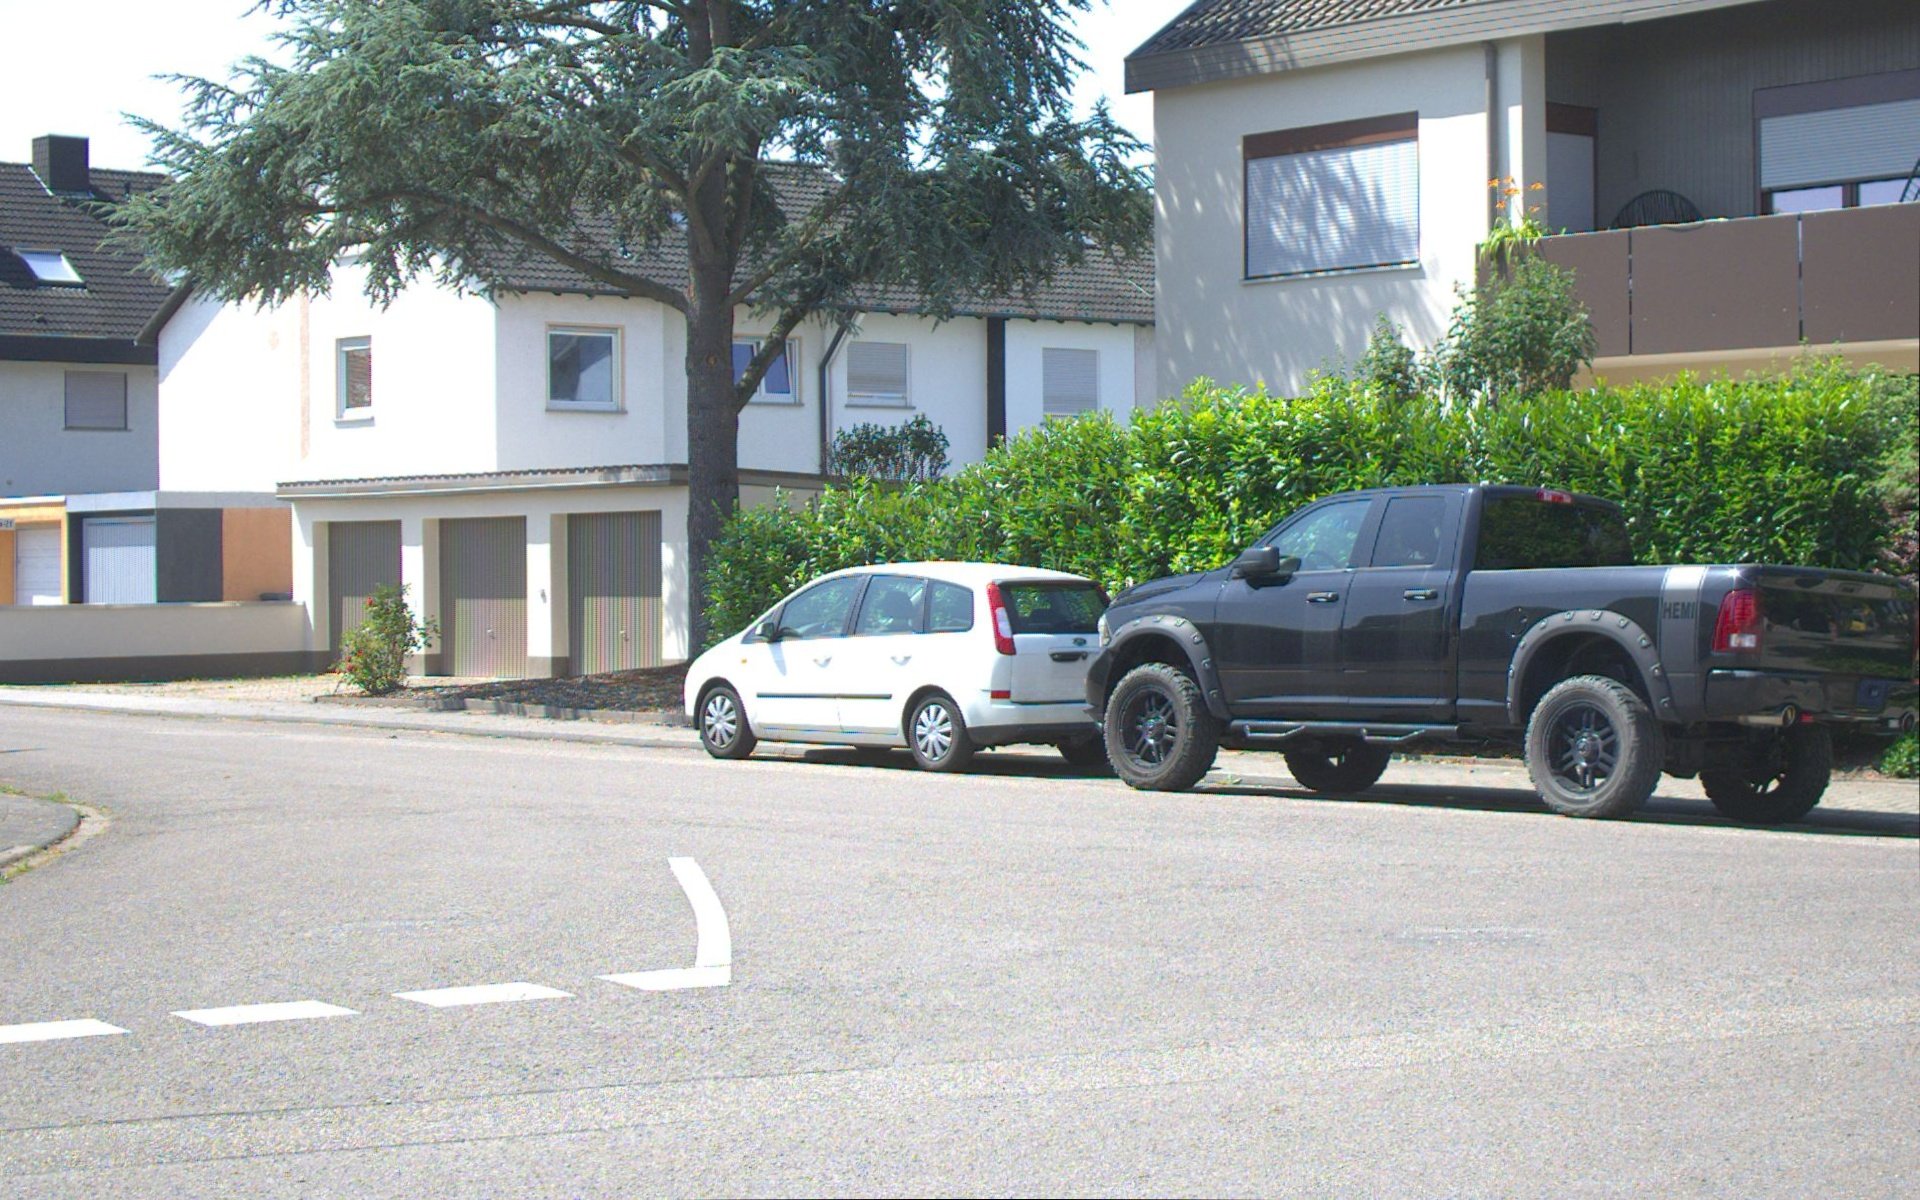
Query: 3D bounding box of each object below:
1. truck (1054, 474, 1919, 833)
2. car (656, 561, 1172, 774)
[{"bbox_3d":[3.477,0.312,22.146,2.365,2.007,5.709,2,-1,-43],"label":"truck"},{"bbox_3d":[-0.433,0.471,27.326,1.798,1.558,4.141,-1,1,-43],"label":"car"}]
